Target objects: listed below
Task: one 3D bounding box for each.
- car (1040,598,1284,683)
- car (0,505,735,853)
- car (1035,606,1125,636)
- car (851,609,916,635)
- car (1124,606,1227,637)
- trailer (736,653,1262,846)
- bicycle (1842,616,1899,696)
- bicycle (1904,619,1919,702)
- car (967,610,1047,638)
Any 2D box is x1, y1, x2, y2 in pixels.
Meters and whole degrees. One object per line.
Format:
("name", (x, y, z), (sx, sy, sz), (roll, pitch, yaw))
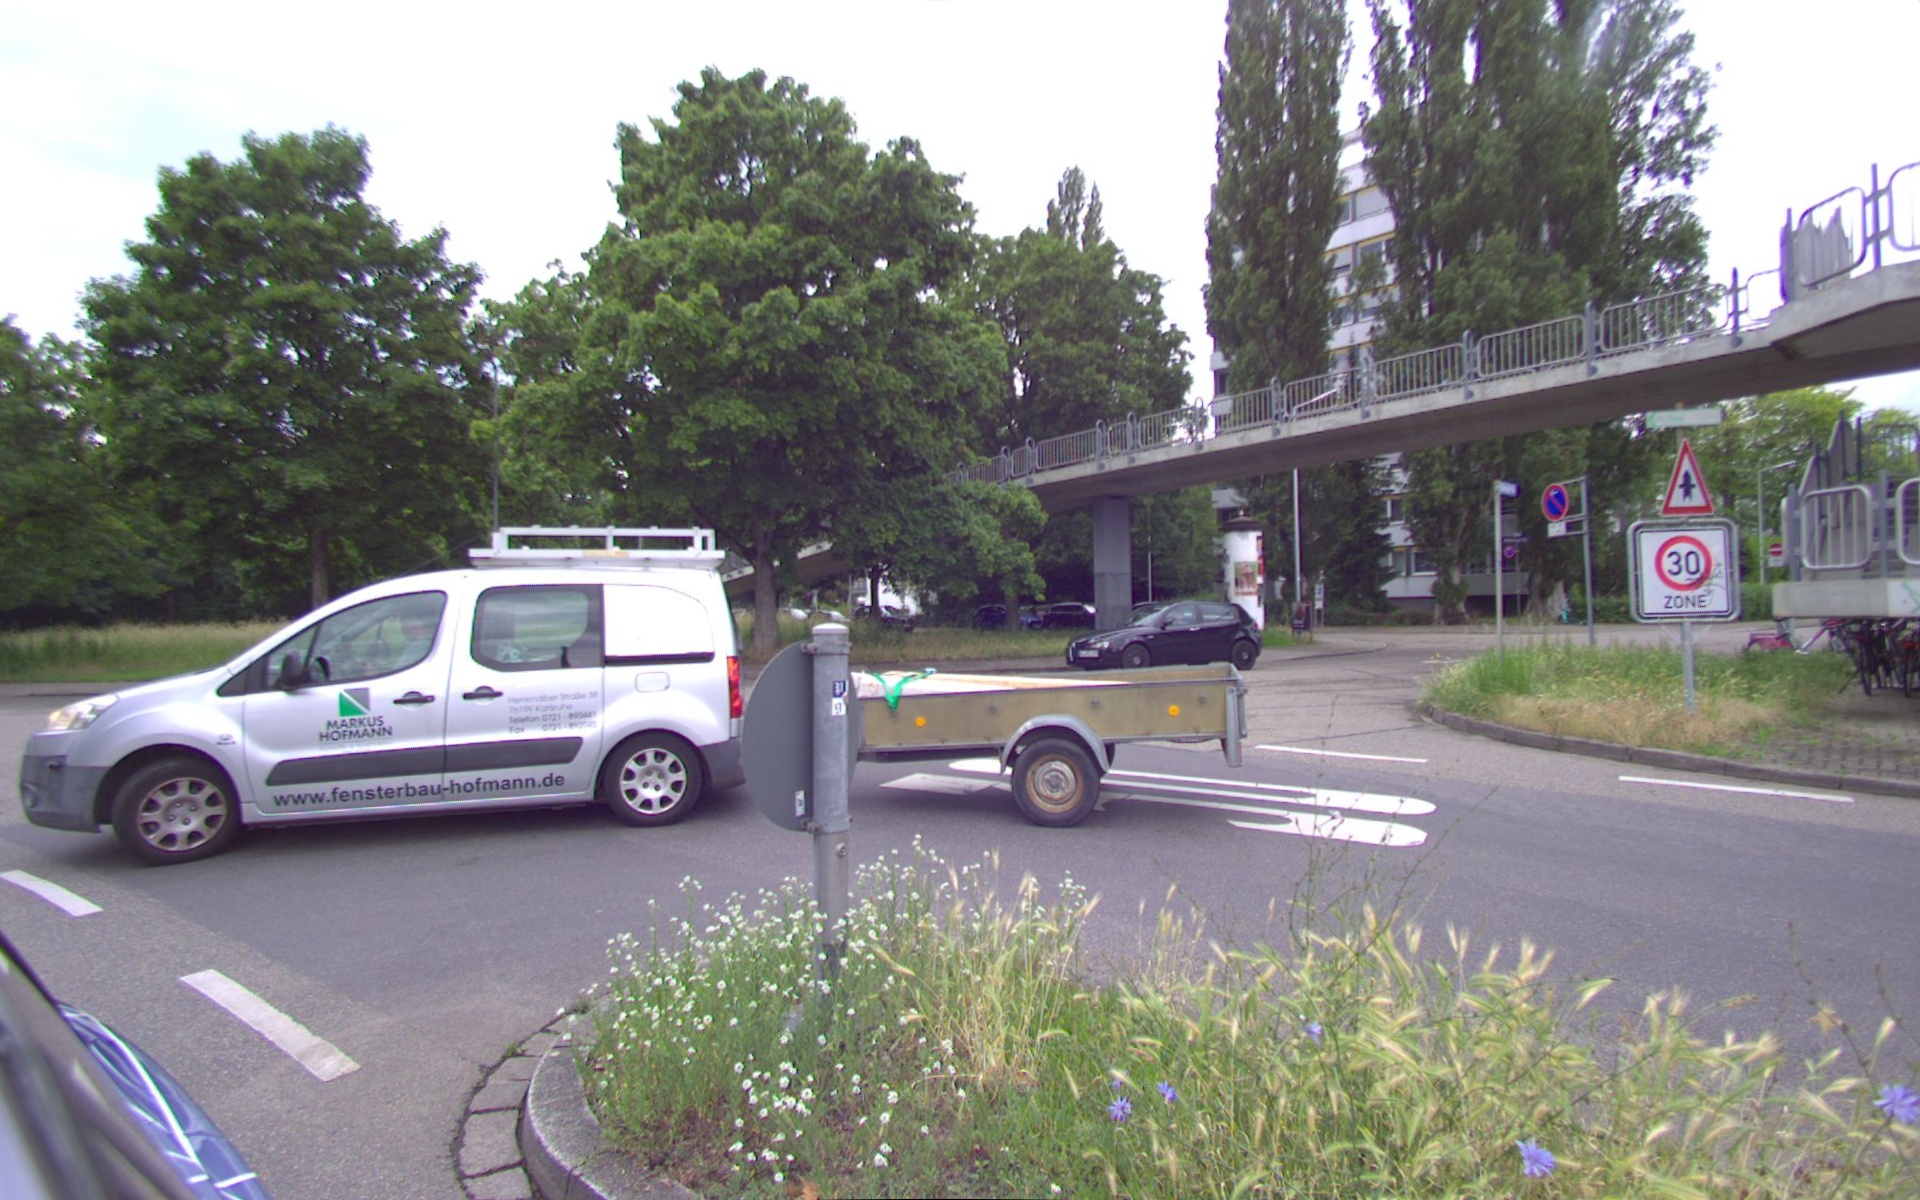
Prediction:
("car", (4.018, 0.753, 20.183), (4.462, 1.468, 1.809), (-1, 0, -21))
("car", (-3.762, 0.414, 6.966), (4.149, 1.871, 2.101), (0, 0, -17))
("car", (5.435, 0.946, 46.178), (1.667, 1.256, 4.007), (-1, 0, -39))
("car", (-4.383, 1.248, 57.463), (1.667, 1.361, 4.007), (-1, 0, -39))
("car", (8.885, 0.885, 41.946), (1.667, 1.214, 4.007), (-1, 0, -39))
("trailer", (0.325, 0.935, 7.151), (3.437, 0.993, 1.562), (0, 0, 19))
("bicycle", (11.162, 0.660, 12.395), (1.618, 0.892, 0.395), (-1, -1, -44))
("bicycle", (11.467, 0.692, 11.936), (1.618, 0.892, 0.395), (-1, -1, -44))
("car", (2.285, 1.178, 49.891), (1.667, 1.247, 4.007), (-1, 0, -39))
